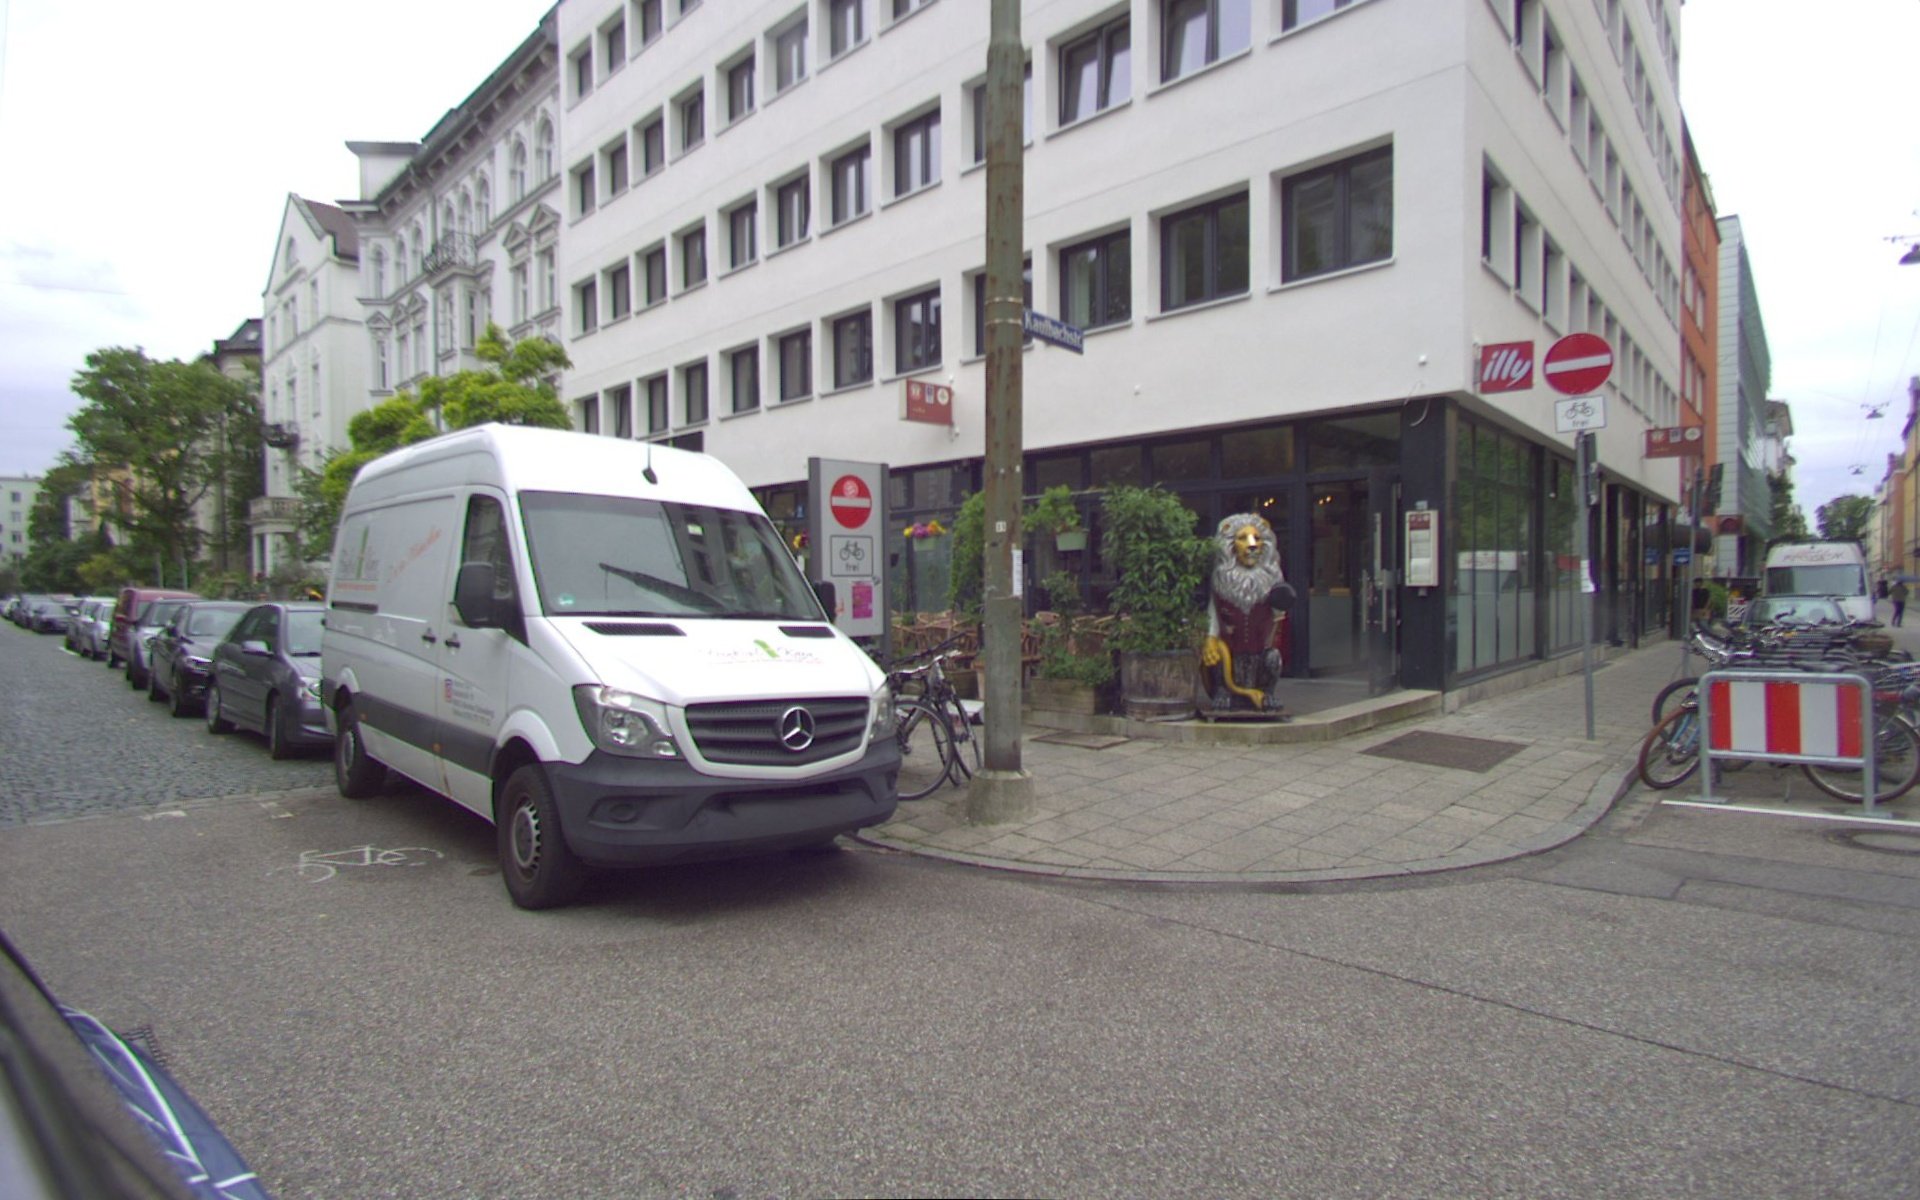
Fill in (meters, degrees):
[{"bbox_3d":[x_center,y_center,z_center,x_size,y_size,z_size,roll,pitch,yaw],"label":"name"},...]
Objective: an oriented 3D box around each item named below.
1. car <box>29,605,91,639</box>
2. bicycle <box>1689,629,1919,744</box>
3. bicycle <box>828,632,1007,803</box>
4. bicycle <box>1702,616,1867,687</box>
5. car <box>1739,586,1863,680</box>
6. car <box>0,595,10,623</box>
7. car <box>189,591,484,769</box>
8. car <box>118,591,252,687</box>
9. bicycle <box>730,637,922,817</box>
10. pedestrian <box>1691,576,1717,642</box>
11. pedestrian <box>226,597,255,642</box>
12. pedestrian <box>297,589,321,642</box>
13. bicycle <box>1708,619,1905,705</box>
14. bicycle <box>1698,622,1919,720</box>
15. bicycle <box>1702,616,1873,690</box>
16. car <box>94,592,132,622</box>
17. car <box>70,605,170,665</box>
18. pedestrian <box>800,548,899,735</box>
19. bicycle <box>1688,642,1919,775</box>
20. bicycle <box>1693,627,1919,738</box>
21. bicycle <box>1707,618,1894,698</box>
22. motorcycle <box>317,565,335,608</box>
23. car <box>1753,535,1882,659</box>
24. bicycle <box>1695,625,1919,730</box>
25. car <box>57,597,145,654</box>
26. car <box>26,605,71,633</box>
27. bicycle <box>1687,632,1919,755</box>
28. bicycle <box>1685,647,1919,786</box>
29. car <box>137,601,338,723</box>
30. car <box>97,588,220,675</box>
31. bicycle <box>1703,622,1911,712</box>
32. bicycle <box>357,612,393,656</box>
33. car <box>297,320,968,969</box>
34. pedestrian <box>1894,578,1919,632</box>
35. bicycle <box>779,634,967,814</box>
[{"bbox_3d":[-41.625,0.973,46.776,4.811,1.430,1.860,0,1,45],"label":"car"},{"bbox_3d":[8.077,0.787,9.574,1.893,0.975,0.393,0,1,40],"label":"bicycle"},{"bbox_3d":[-0.370,0.842,7.762,1.731,1.135,0.252,0,1,45],"label":"bicycle"},{"bbox_3d":[12.280,0.739,15.138,1.893,0.975,0.393,0,1,40],"label":"bicycle"},{"bbox_3d":[14.299,0.486,17.229,1.489,1.418,3.642,0,0,40],"label":"car"},{"bbox_3d":[-73.315,0.667,76.806,1.738,2.029,4.003,-2,1,-44],"label":"car"},{"bbox_3d":[-6.631,0.668,10.586,3.983,1.493,1.643,0,1,43],"label":"car"},{"bbox_3d":[-13.985,0.612,18.185,1.672,1.515,3.783,-2,1,-41],"label":"car"},{"bbox_3d":[-1.007,0.842,7.227,1.816,1.099,0.282,0,0,44],"label":"bicycle"},{"bbox_3d":[20.035,0.245,27.260,0.522,1.752,0.486,0,0,41],"label":"pedestrian"},{"bbox_3d":[-27.075,0.718,38.086,0.656,1.640,0.671,-1,1,-13],"label":"pedestrian"},{"bbox_3d":[-20.552,0.487,31.954,0.568,1.659,0.823,1,-1,-38],"label":"pedestrian"},{"bbox_3d":[10.664,0.752,12.825,1.893,0.975,0.393,0,1,40],"label":"bicycle"},{"bbox_3d":[9.506,0.765,11.411,1.893,0.975,0.393,0,1,40],"label":"bicycle"},{"bbox_3d":[11.885,0.734,14.605,1.893,0.975,0.393,0,1,40],"label":"bicycle"},{"bbox_3d":[-59.085,0.465,70.561,1.738,2.029,4.003,-2,1,-44],"label":"car"},{"bbox_3d":[-22.105,0.859,26.591,3.817,1.404,1.613,0,1,44],"label":"car"},{"bbox_3d":[-1.147,0.405,10.502,0.813,1.854,0.607,0,1,39],"label":"pedestrian"},{"bbox_3d":[7.227,0.877,8.412,1.893,0.975,0.393,0,1,40],"label":"bicycle"},{"bbox_3d":[8.390,0.776,9.957,1.893,0.975,0.393,0,1,40],"label":"bicycle"},{"bbox_3d":[11.160,0.742,13.507,1.893,0.975,0.393,0,1,40],"label":"bicycle"},{"bbox_3d":[-17.902,-0.373,28.595,0.326,1.188,1.630,-1,1,-29],"label":"motorcycle"},{"bbox_3d":[19.109,-0.134,22.648,1.963,2.406,6.398,0,1,40],"label":"car"},{"bbox_3d":[8.853,0.771,10.571,1.893,0.975,0.393,0,1,40],"label":"bicycle"},{"bbox_3d":[-26.473,0.723,31.146,4.069,1.584,1.670,0,1,44],"label":"car"},{"bbox_3d":[-50.417,1.008,55.943,1.689,1.435,4.003,-2,1,-44],"label":"car"},{"bbox_3d":[7.642,0.802,9.004,1.893,0.975,0.393,0,1,40],"label":"bicycle"},{"bbox_3d":[6.958,0.903,8.067,1.893,0.975,0.393,0,1,40],"label":"bicycle"},{"bbox_3d":[-10.468,0.775,14.520,1.705,1.476,4.477,2,-2,-44],"label":"car"},{"bbox_3d":[-17.632,0.620,22.210,1.698,1.736,3.901,1,0,-45],"label":"car"},{"bbox_3d":[10.110,0.769,12.163,1.893,0.975,0.393,0,1,40],"label":"bicycle"},{"bbox_3d":[-15.023,0.864,25.967,1.685,1.086,0.254,-1,0,42],"label":"bicycle"},{"bbox_3d":[-2.675,0.174,6.826,1.954,2.593,5.799,1,-1,-44],"label":"car"},{"bbox_3d":[36.315,0.174,38.610,0.871,2.029,0.876,0,1,36],"label":"pedestrian"},{"bbox_3d":[-0.690,0.847,7.453,1.808,1.135,0.252,0,1,45],"label":"bicycle"}]
